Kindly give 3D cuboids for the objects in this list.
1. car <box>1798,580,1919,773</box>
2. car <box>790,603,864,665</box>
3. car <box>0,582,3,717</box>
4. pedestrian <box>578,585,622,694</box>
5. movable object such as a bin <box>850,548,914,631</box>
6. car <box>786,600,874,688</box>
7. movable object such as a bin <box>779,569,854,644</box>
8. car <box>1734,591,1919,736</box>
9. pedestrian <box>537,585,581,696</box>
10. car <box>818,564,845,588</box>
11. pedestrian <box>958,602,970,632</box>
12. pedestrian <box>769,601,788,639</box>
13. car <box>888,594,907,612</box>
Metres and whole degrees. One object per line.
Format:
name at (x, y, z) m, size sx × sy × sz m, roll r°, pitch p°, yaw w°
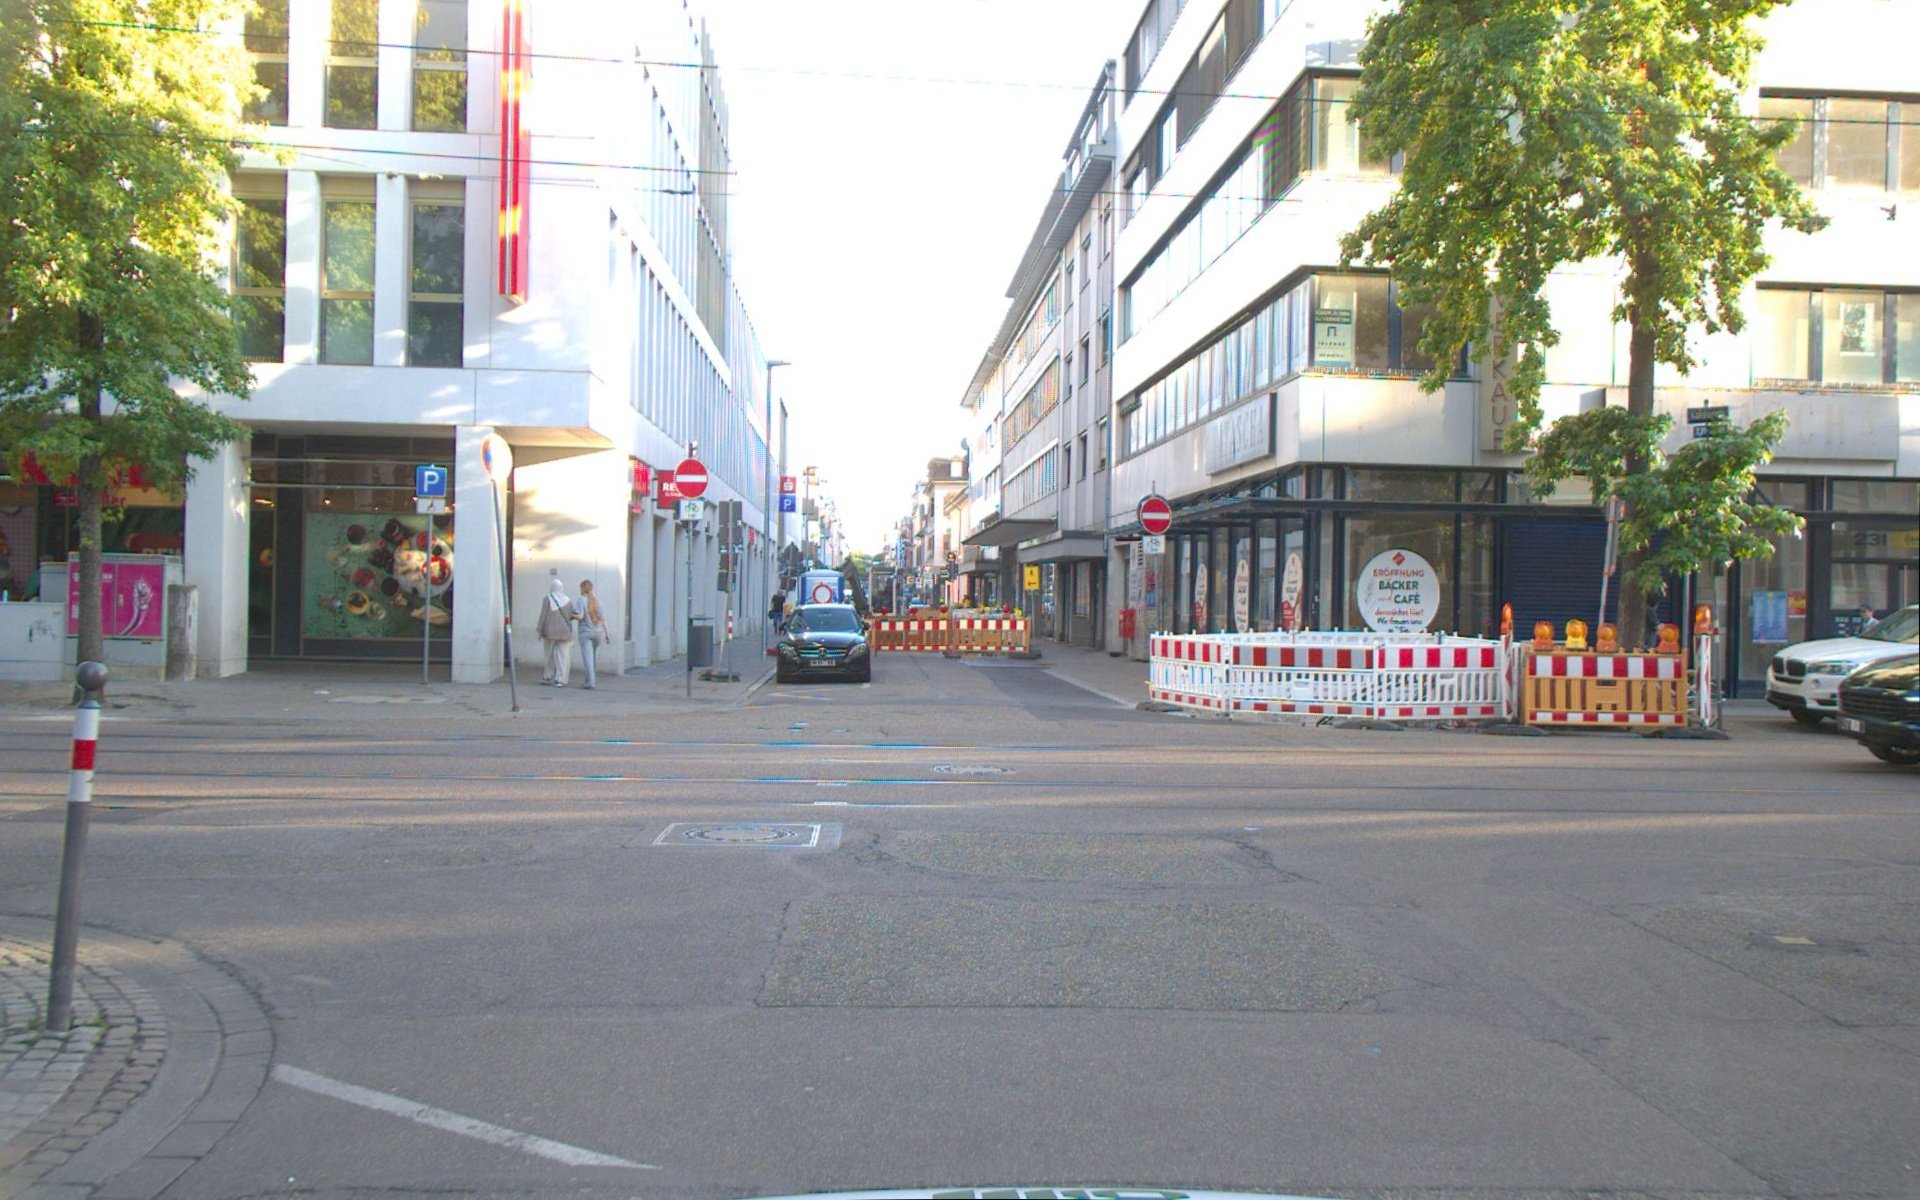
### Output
car at (11.129, 0.747, 16.231) m, size 4.832 × 1.756 × 2.020 m, roll 1°, pitch 0°, yaw -4°
car at (-3.409, 0.842, 41.937) m, size 1.755 × 1.477 × 3.138 m, roll 0°, pitch 0°, yaw -7°
car at (-13.759, 0.599, 21.829) m, size 1.924 × 1.531 × 3.959 m, roll 0°, pitch 3°, yaw -30°
pedestrian at (-5.563, 0.595, 25.526) m, size 0.600 × 1.656 × 0.869 m, roll 0°, pitch 0°, yaw -17°
movable object such as a bin at (-2.717, -0.355, 57.114) m, size 2.114 × 2.710 × 4.569 m, roll 1°, pitch 0°, yaw -4°
car at (-2.550, 0.812, 31.915) m, size 1.598 × 1.577 × 3.138 m, roll 0°, pitch 0°, yaw -7°
movable object such as a bin at (-4.044, 0.160, 47.088) m, size 1.954 × 2.049 × 3.998 m, roll 0°, pitch 0°, yaw -3°
car at (13.586, 0.866, 22.840) m, size 4.832 × 1.806 × 2.021 m, roll 1°, pitch 2°, yaw -4°
pedestrian at (-6.108, 0.602, 25.150) m, size 0.600 × 1.656 × 0.869 m, roll 0°, pitch 0°, yaw -17°
car at (-9.824, -1.808, 126.348) m, size 1.954 × 1.808 × 3.997 m, roll 0°, pitch 0°, yaw -3°
pedestrian at (0.200, 0.853, 83.978) m, size 0.513 × 1.490 × 0.719 m, roll 1°, pitch 0°, yaw 4°
pedestrian at (-7.221, 0.786, 65.924) m, size 0.701 × 1.490 × 0.525 m, roll 0°, pitch 0°, yaw -1°
car at (-6.486, 0.302, 171.182) m, size 1.954 × 1.808 × 3.997 m, roll 0°, pitch 0°, yaw -3°
